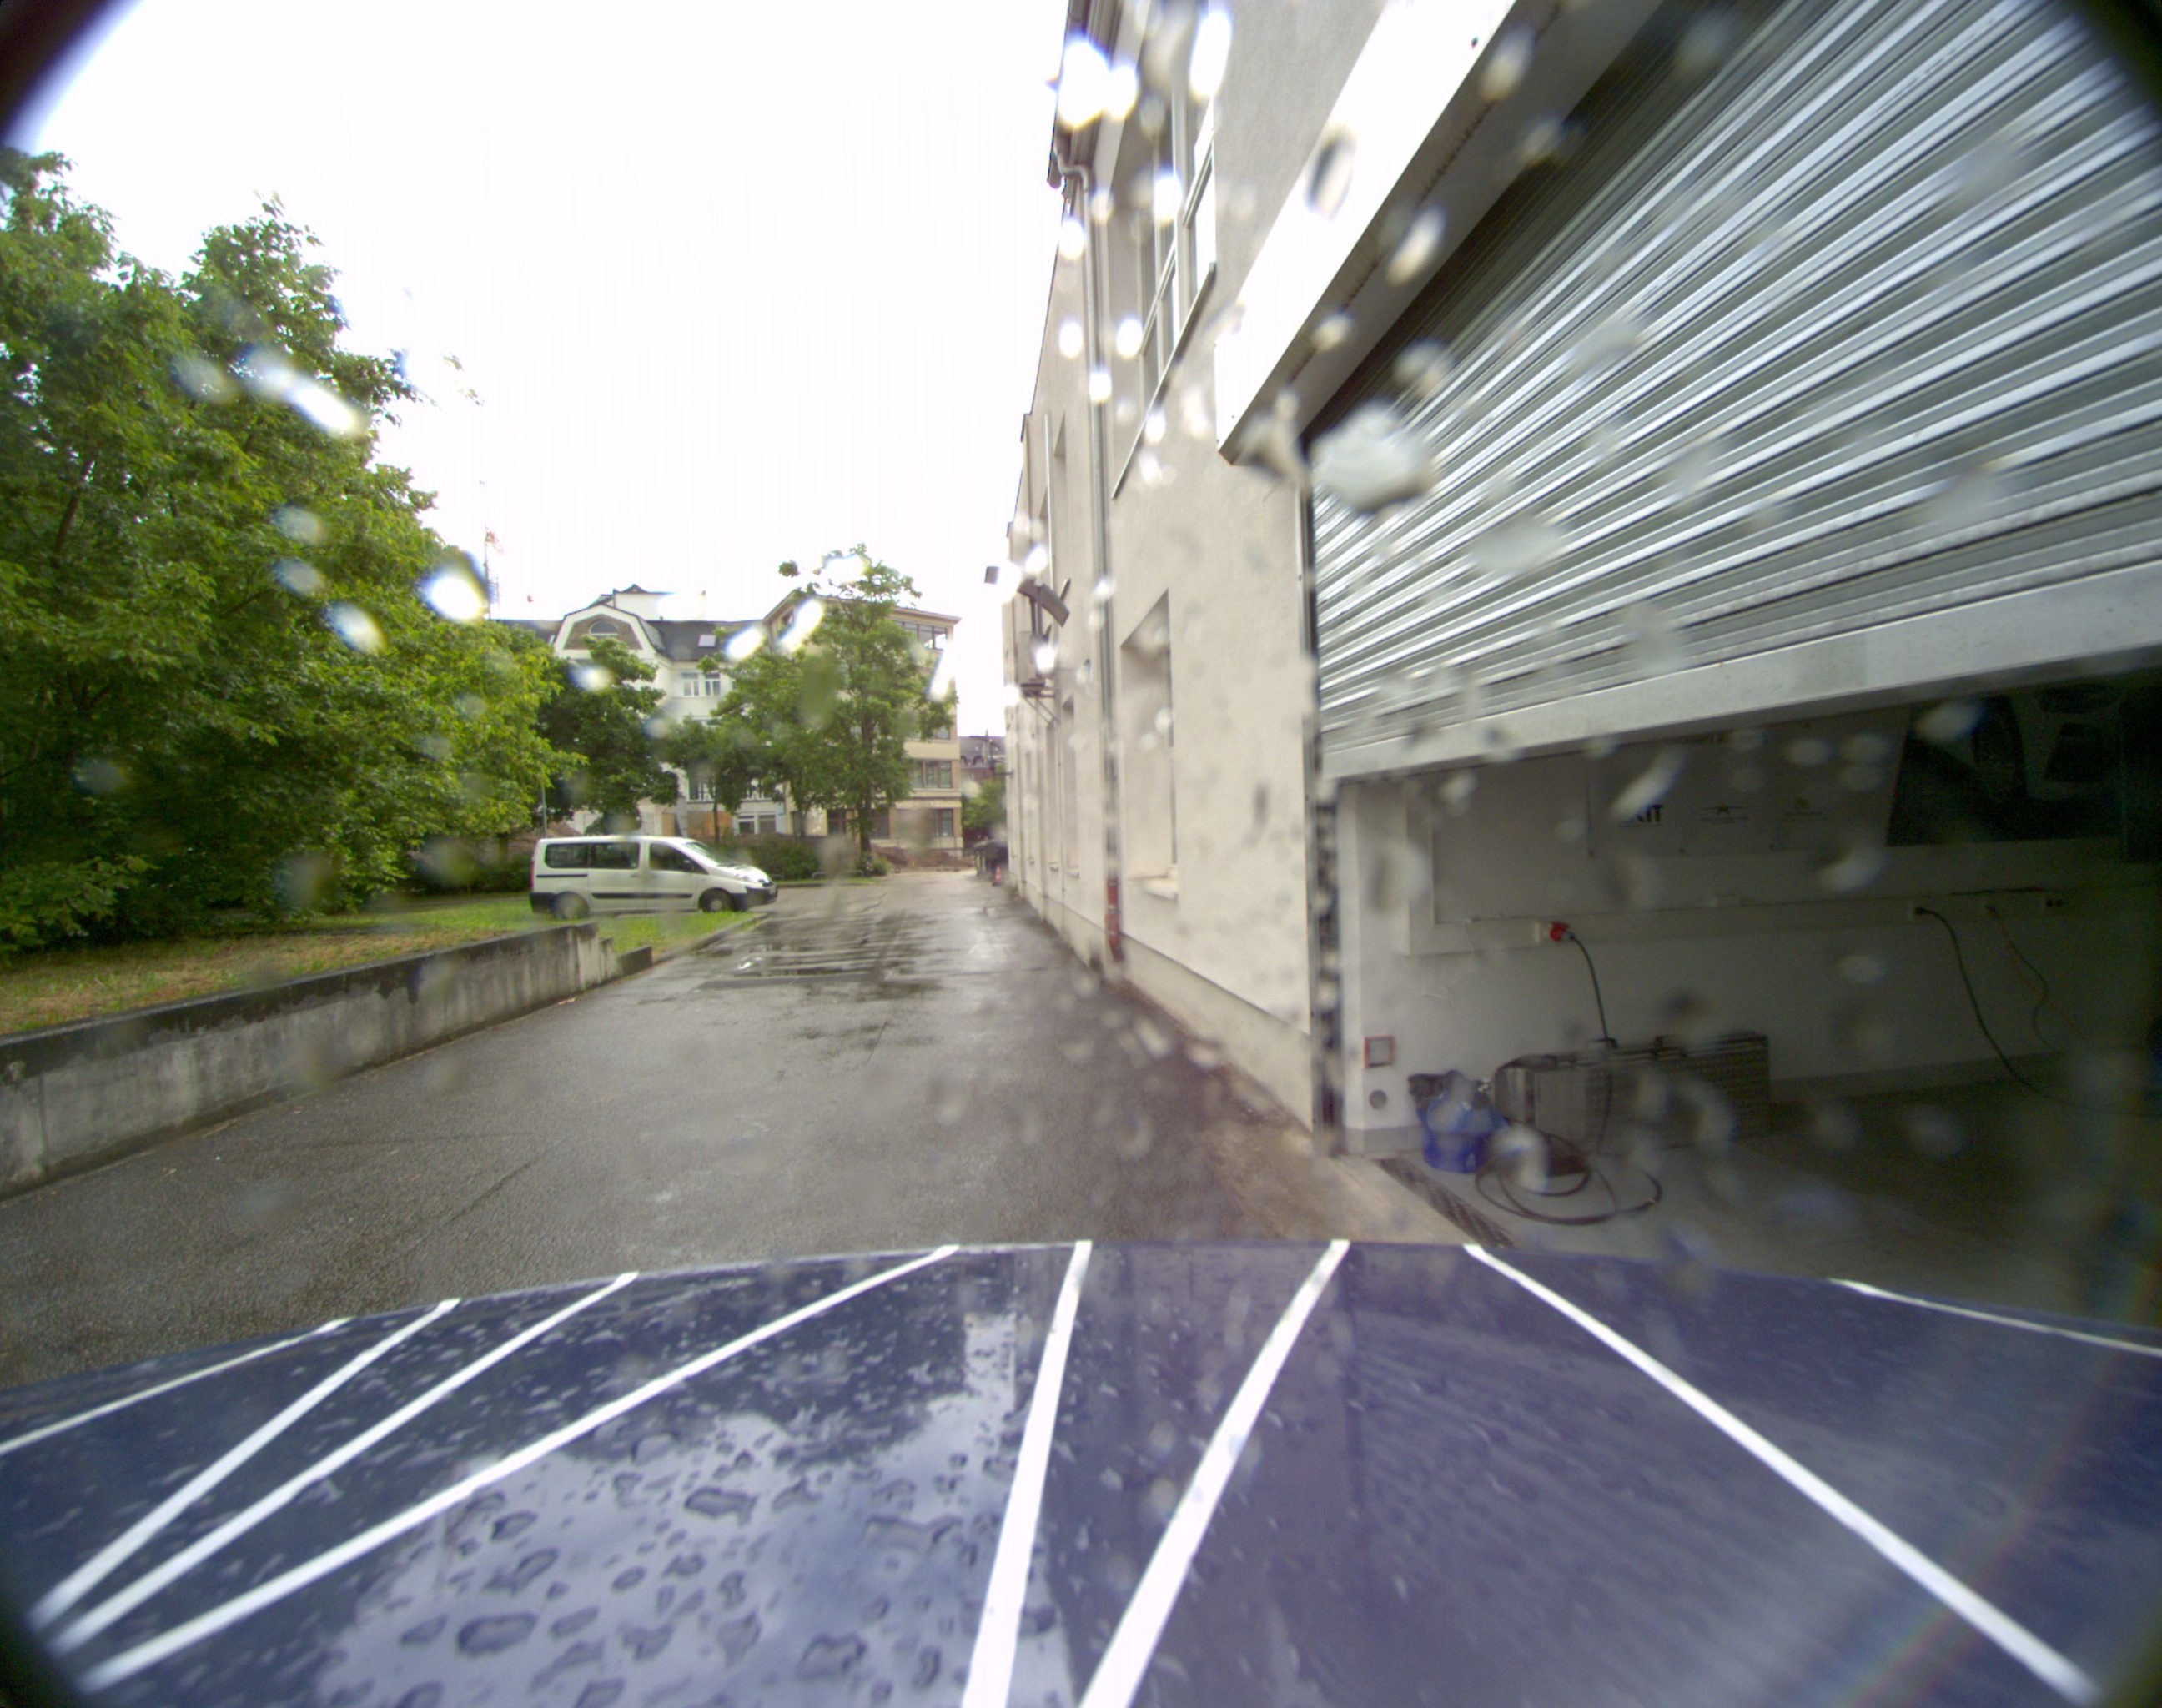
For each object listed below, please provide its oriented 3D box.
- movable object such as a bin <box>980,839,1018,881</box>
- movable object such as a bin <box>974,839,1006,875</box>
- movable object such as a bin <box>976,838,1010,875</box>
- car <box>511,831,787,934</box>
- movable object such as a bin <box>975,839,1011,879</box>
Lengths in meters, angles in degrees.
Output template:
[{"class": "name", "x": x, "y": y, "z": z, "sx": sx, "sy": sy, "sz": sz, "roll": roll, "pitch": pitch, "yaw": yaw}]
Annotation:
[{"class": "movable object such as a bin", "x": -2.987, "y": 0.193, "z": 27.576, "sx": 1.169, "sy": 1.475, "sz": 1.592, "roll": -1, "pitch": 2, "yaw": -14}, {"class": "movable object such as a bin", "x": -4.003, "y": 0.119, "z": 33.546, "sx": 1.104, "sy": 1.465, "sz": 1.485, "roll": -3, "pitch": 2, "yaw": 1}, {"class": "movable object such as a bin", "x": -3.722, "y": 0.119, "z": 32.037, "sx": 1.169, "sy": 1.474, "sz": 1.401, "roll": -3, "pitch": 0, "yaw": -16}, {"class": "car", "x": -9.520, "y": 0.555, "z": 17.195, "sx": 4.888, "sy": 1.915, "sz": 2.097, "roll": -3, "pitch": 3, "yaw": -7}, {"class": "movable object such as a bin", "x": -3.390, "y": 0.155, "z": 29.152, "sx": 1.169, "sy": 1.475, "sz": 1.495, "roll": -1, "pitch": 2, "yaw": -14}]
